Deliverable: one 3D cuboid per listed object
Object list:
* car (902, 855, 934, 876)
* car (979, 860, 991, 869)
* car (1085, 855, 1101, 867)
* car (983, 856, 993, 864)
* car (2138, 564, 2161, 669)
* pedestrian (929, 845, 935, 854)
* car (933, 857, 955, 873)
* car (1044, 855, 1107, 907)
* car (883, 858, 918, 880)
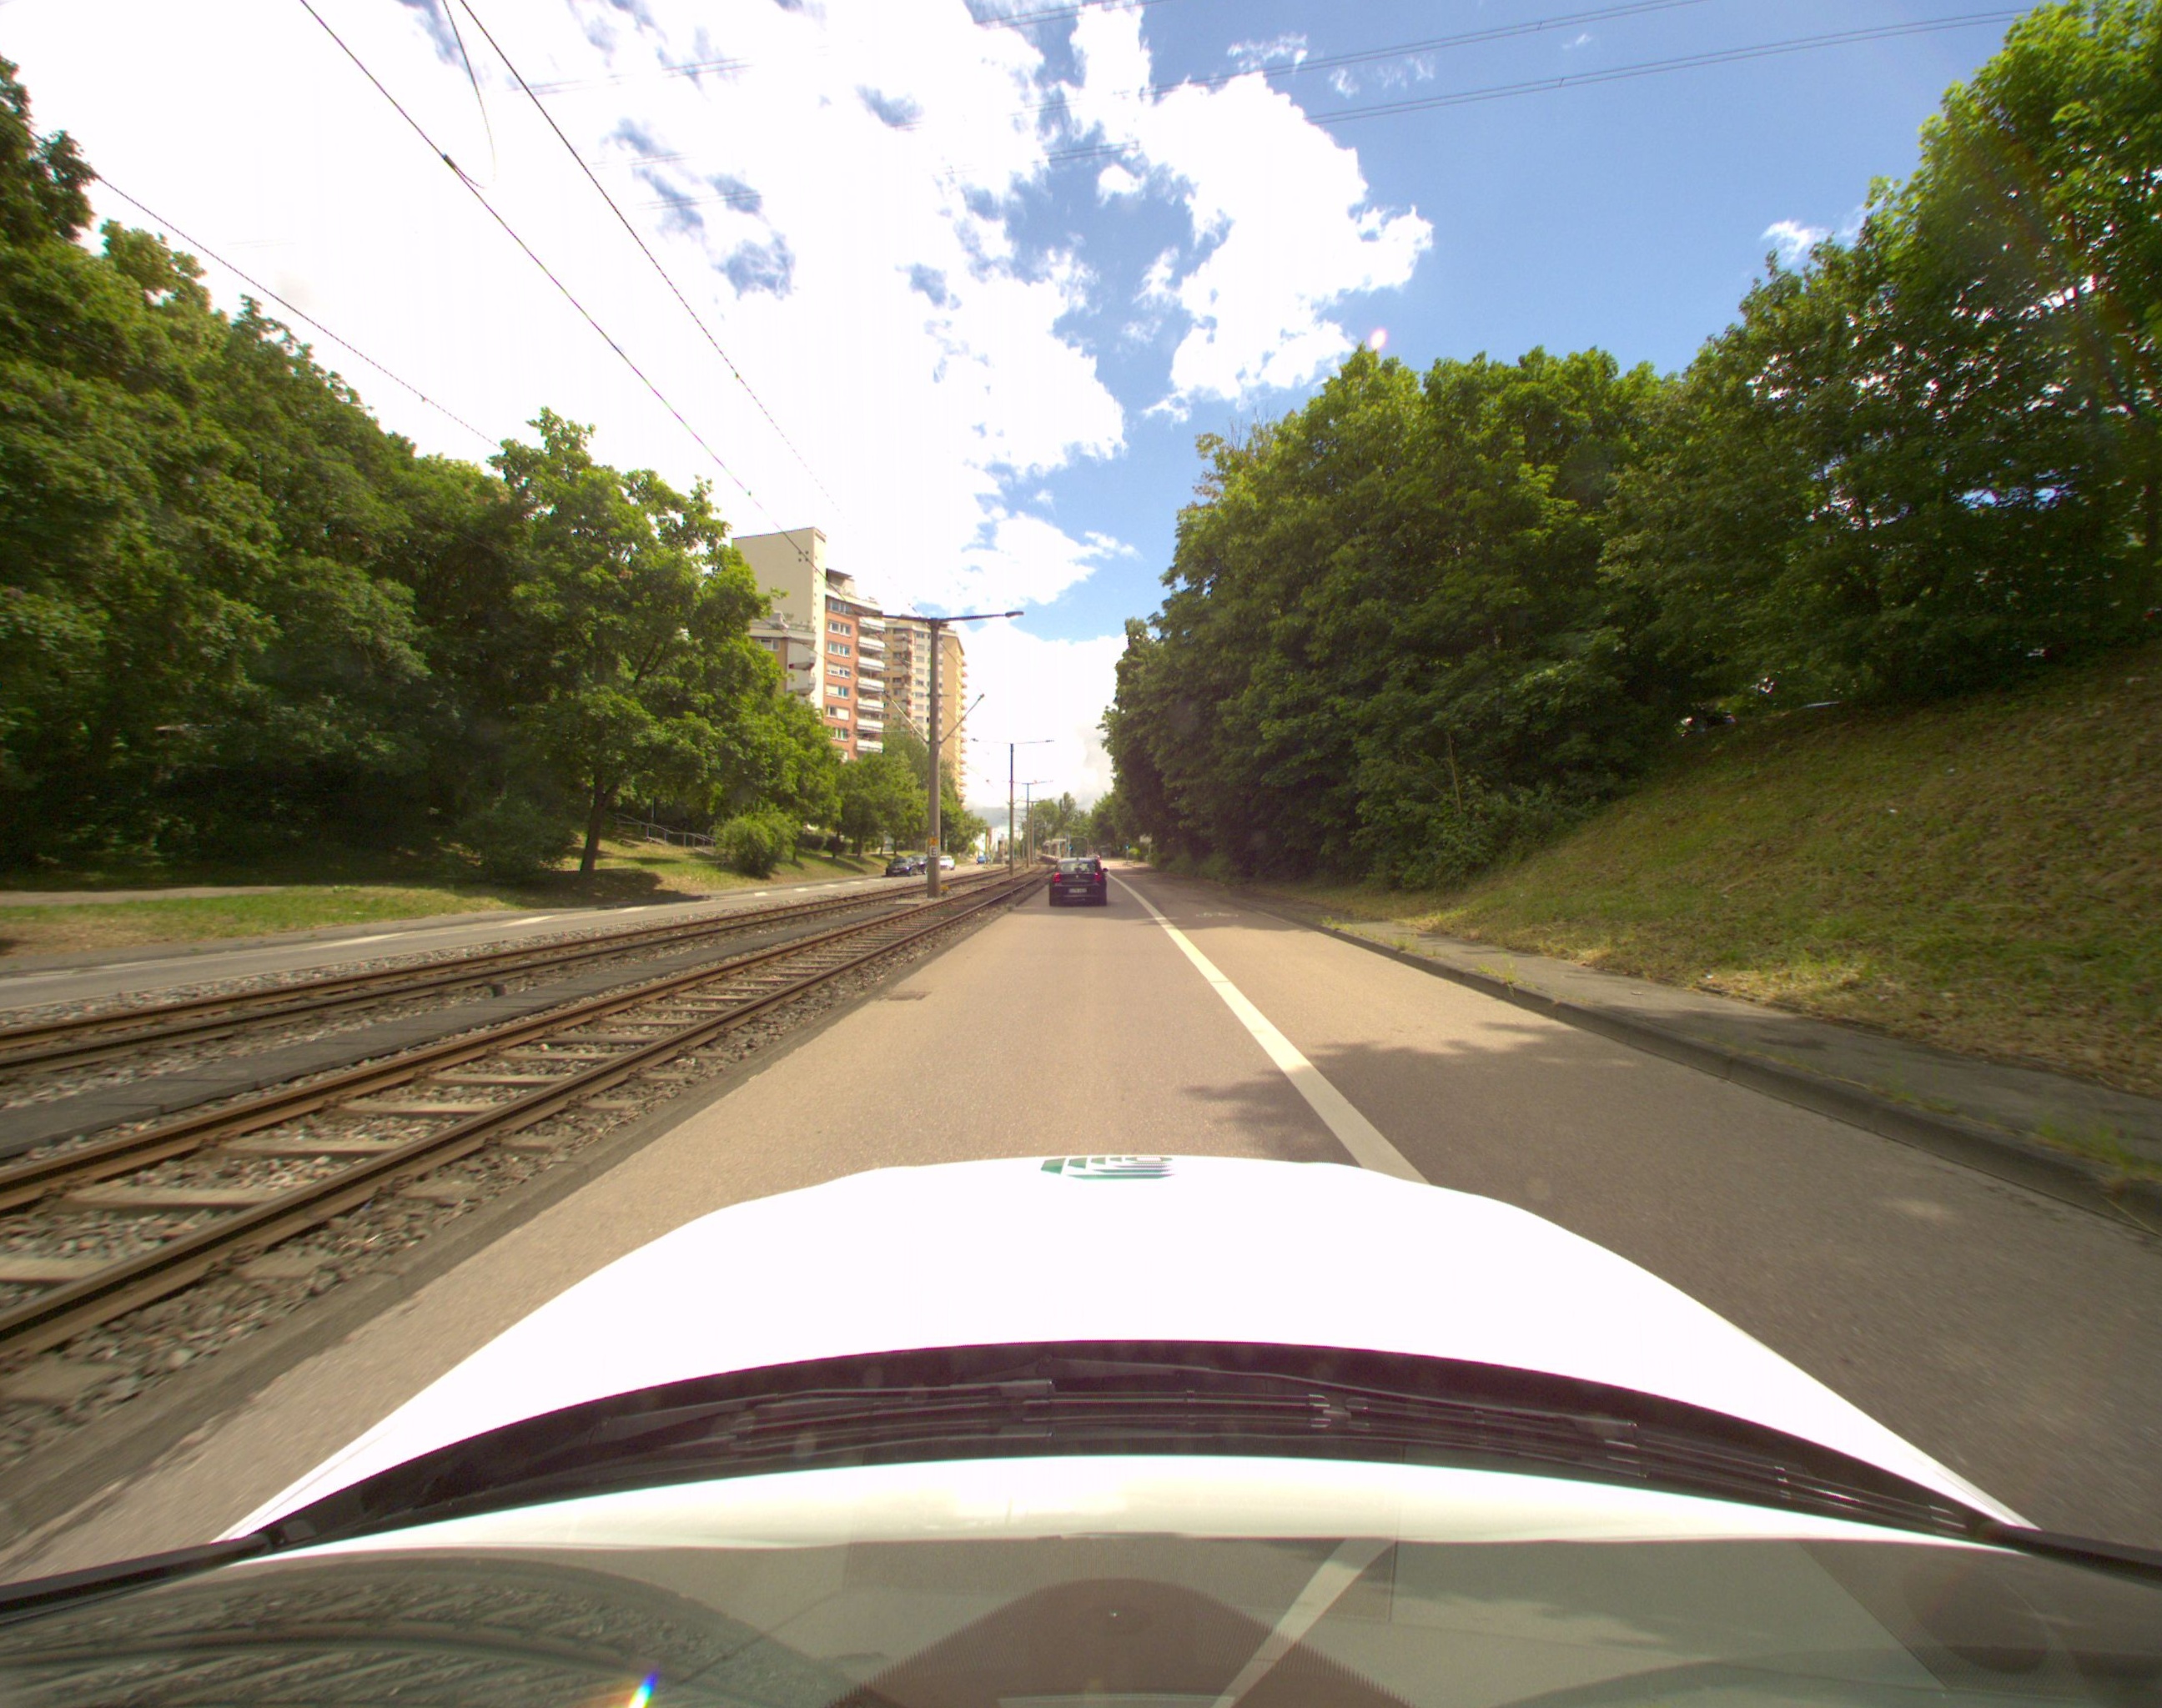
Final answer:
[{"bbox_3d":[-13.284,0.917,66.666,1.769,1.630,4.379,-1,-1,-2],"label":"car"},{"bbox_3d":[-16.016,1.682,135.882,1.716,1.442,3.929,-1,0,-10],"label":"car"},{"bbox_3d":[1.478,0.886,102.052,1.777,1.459,3.917,-1,0,-3],"label":"car"},{"bbox_3d":[-18.430,1.130,161.844,1.712,1.564,3.693,-1,0,-3],"label":"car"},{"bbox_3d":[16.901,-3.566,10.354,1.768,1.498,3.996,-1,0,0],"label":"car"},{"bbox_3d":[-24.507,-0.767,133.877,0.629,1.534,0.637,-1,0,18],"label":"pedestrian"},{"bbox_3d":[-14.067,1.107,83.759,1.778,1.532,4.237,-2,0,-5],"label":"car"},{"bbox_3d":[-0.181,0.777,25.262,1.776,1.459,3.919,-2,0,-1],"label":"car"},{"bbox_3d":[-13.239,1.066,59.982,1.769,1.498,3.994,-1,0,-2],"label":"car"}]
